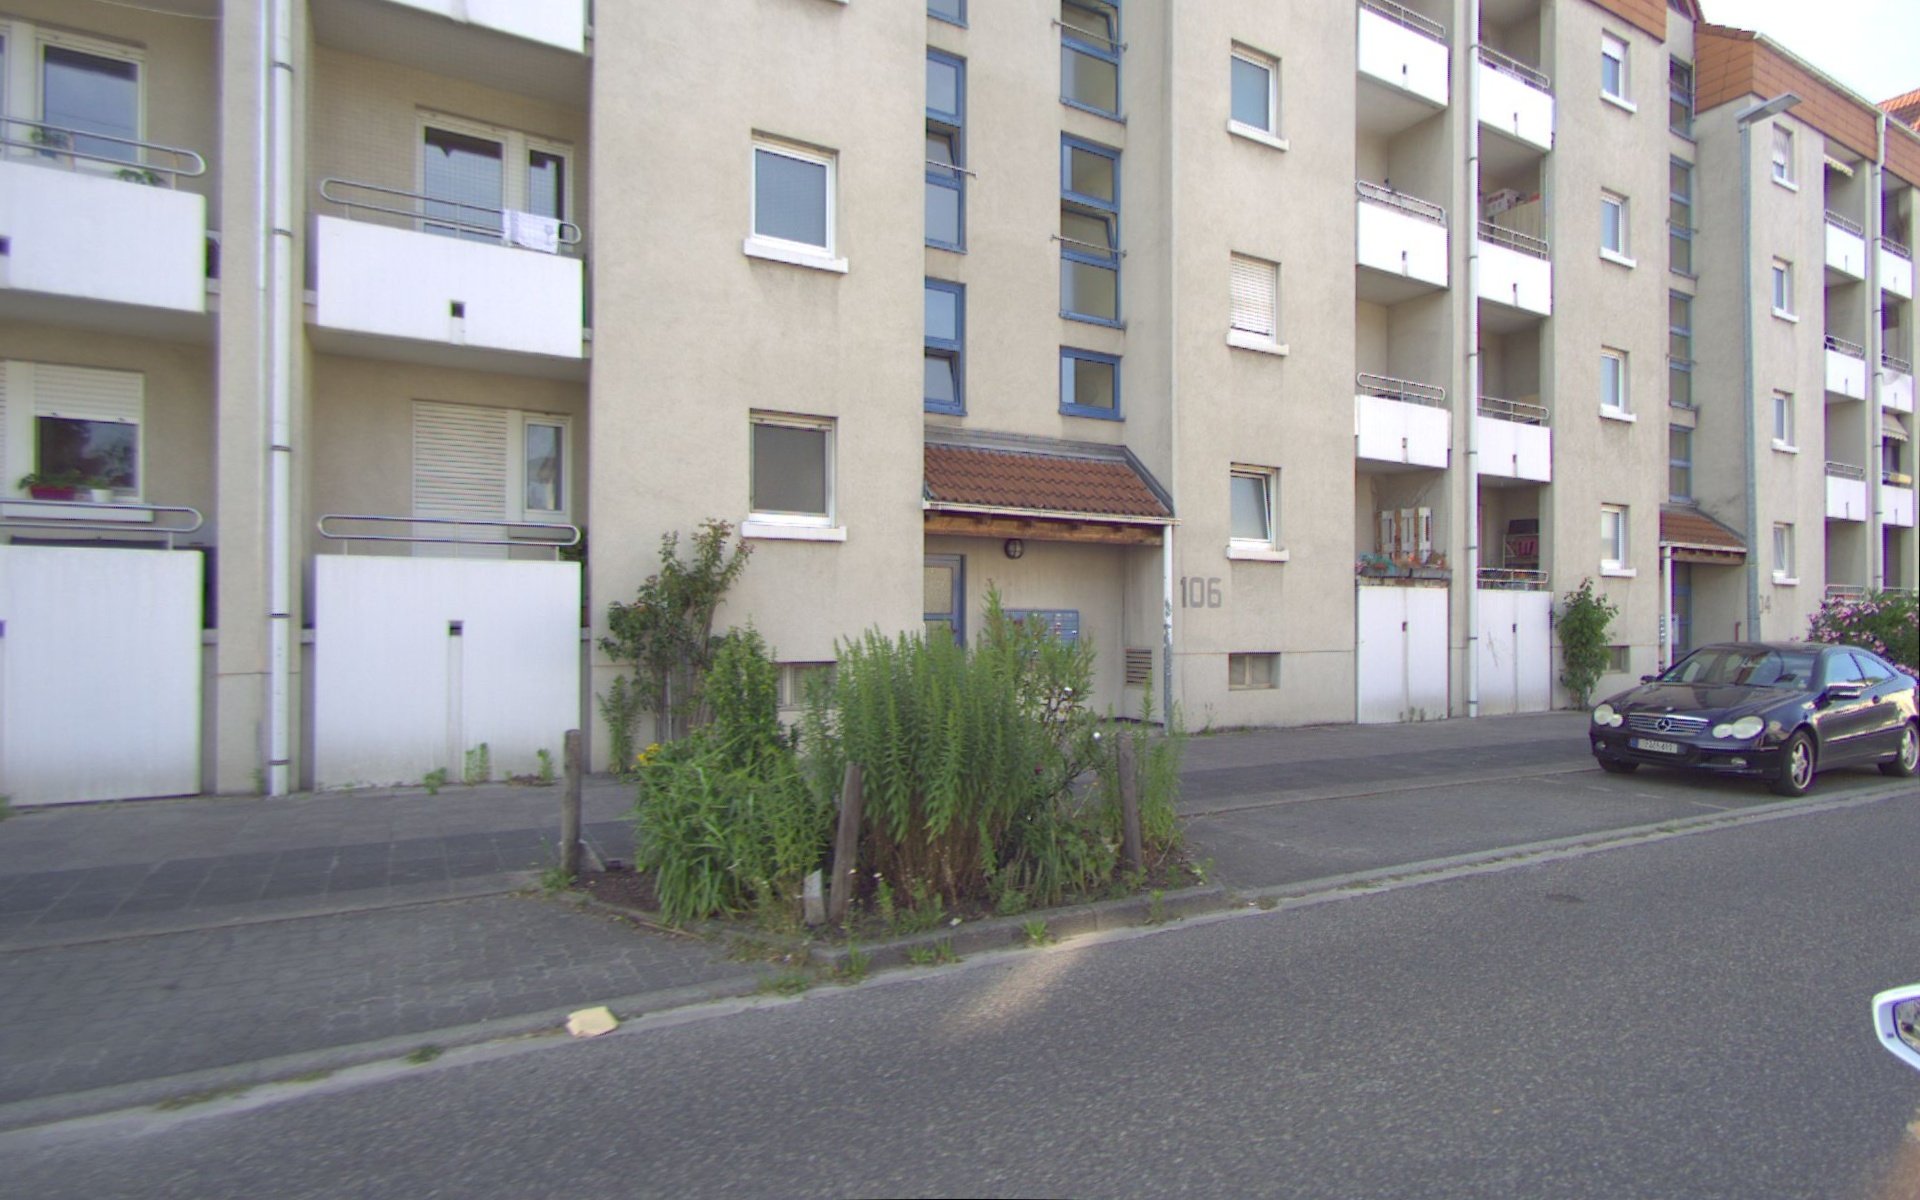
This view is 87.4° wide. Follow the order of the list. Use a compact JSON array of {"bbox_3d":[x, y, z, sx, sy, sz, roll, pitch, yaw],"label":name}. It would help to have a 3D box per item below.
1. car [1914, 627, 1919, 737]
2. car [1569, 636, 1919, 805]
[{"bbox_3d":[15.866,1.209,14.631,3.915,1.576,1.720,1,0,-28],"label":"car"},{"bbox_3d":[8.402,1.126,10.608,4.036,1.424,1.678,1,0,-31],"label":"car"}]
